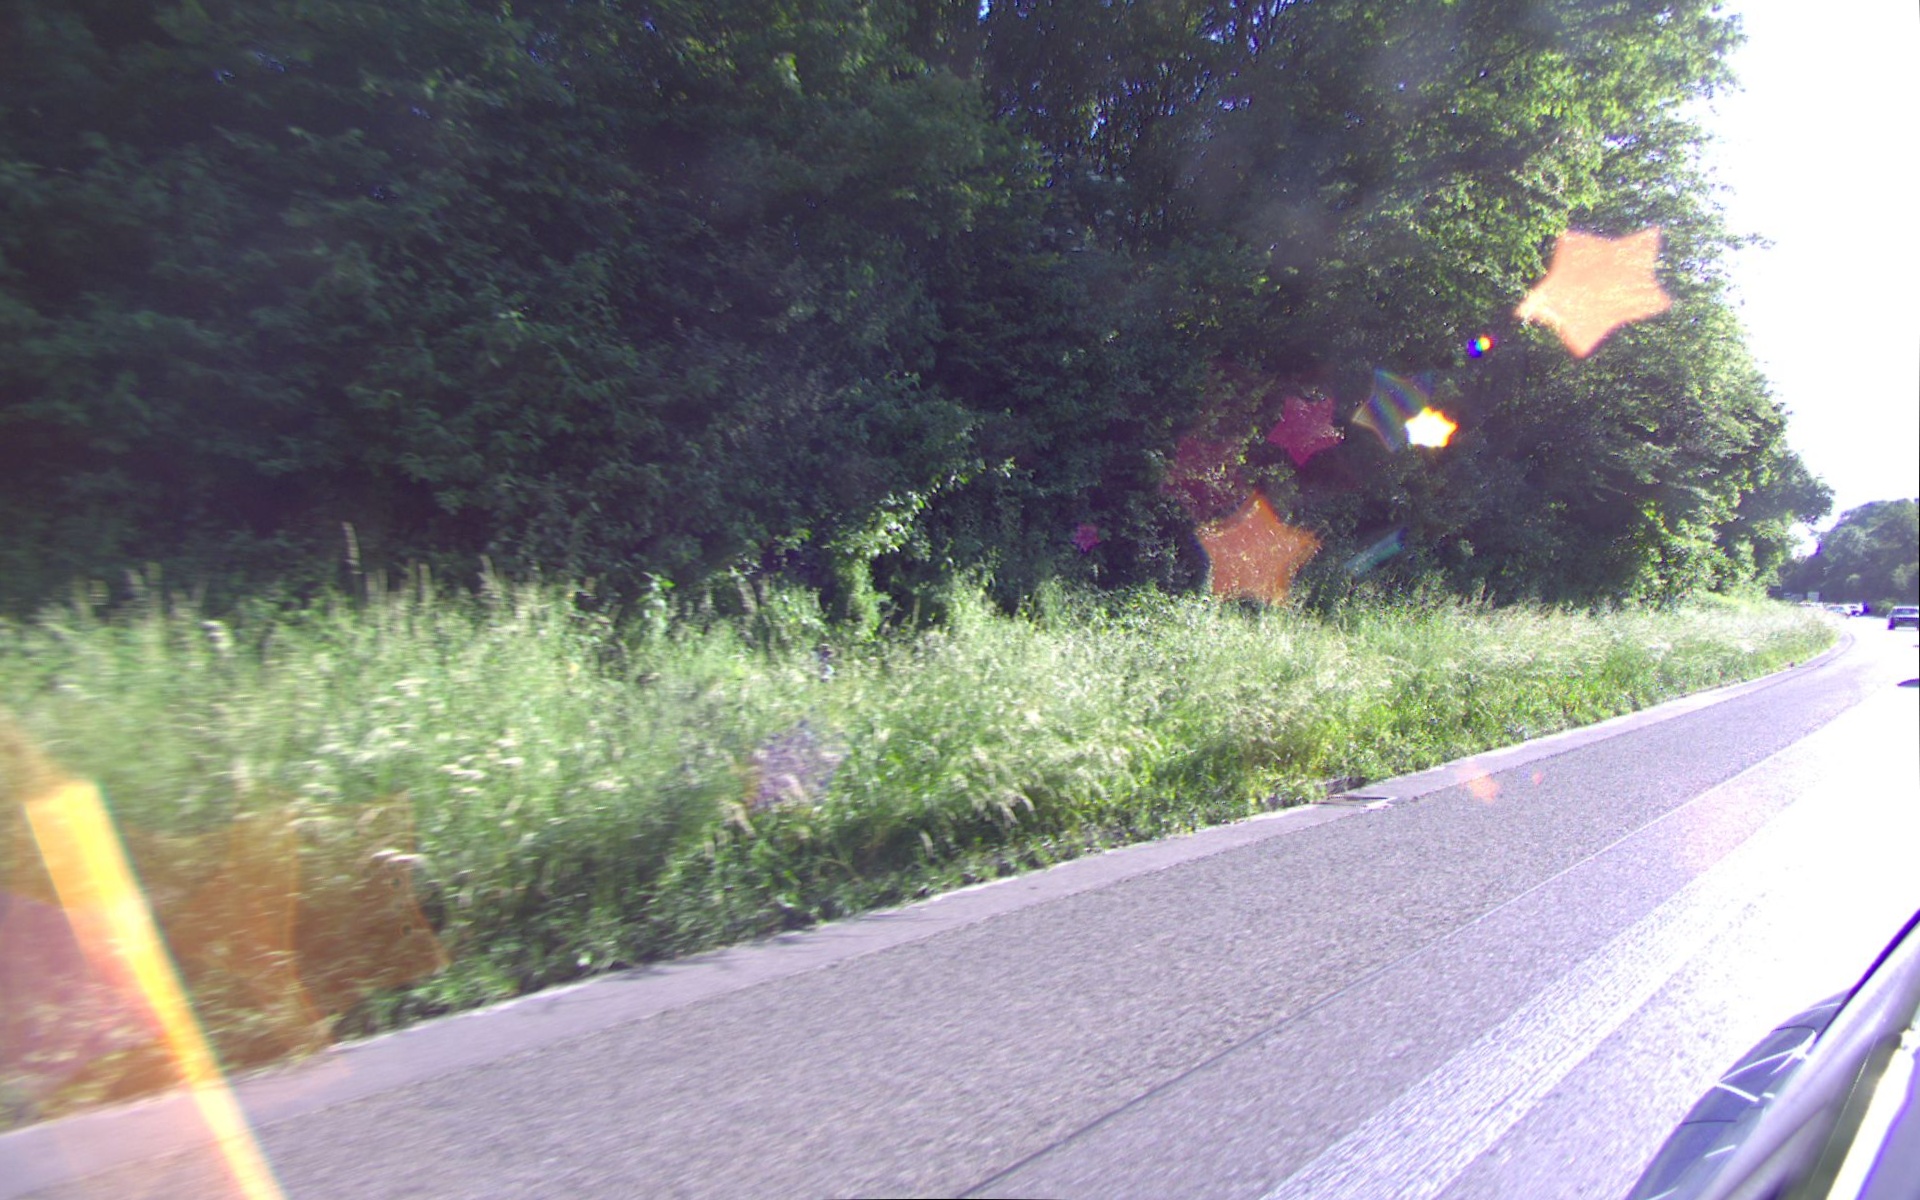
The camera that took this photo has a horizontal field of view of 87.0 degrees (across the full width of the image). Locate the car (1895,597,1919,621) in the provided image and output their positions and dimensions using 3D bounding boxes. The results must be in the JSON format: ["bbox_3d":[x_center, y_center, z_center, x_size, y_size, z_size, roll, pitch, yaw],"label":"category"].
[{"bbox_3d":[64.210,0.571,67.817,1.927,1.526,5.013,2,1,39],"label":"car"}]

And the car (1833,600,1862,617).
[{"bbox_3d":[95.671,0.884,109.163,1.924,1.526,5.020,-1,2,37],"label":"car"}]
